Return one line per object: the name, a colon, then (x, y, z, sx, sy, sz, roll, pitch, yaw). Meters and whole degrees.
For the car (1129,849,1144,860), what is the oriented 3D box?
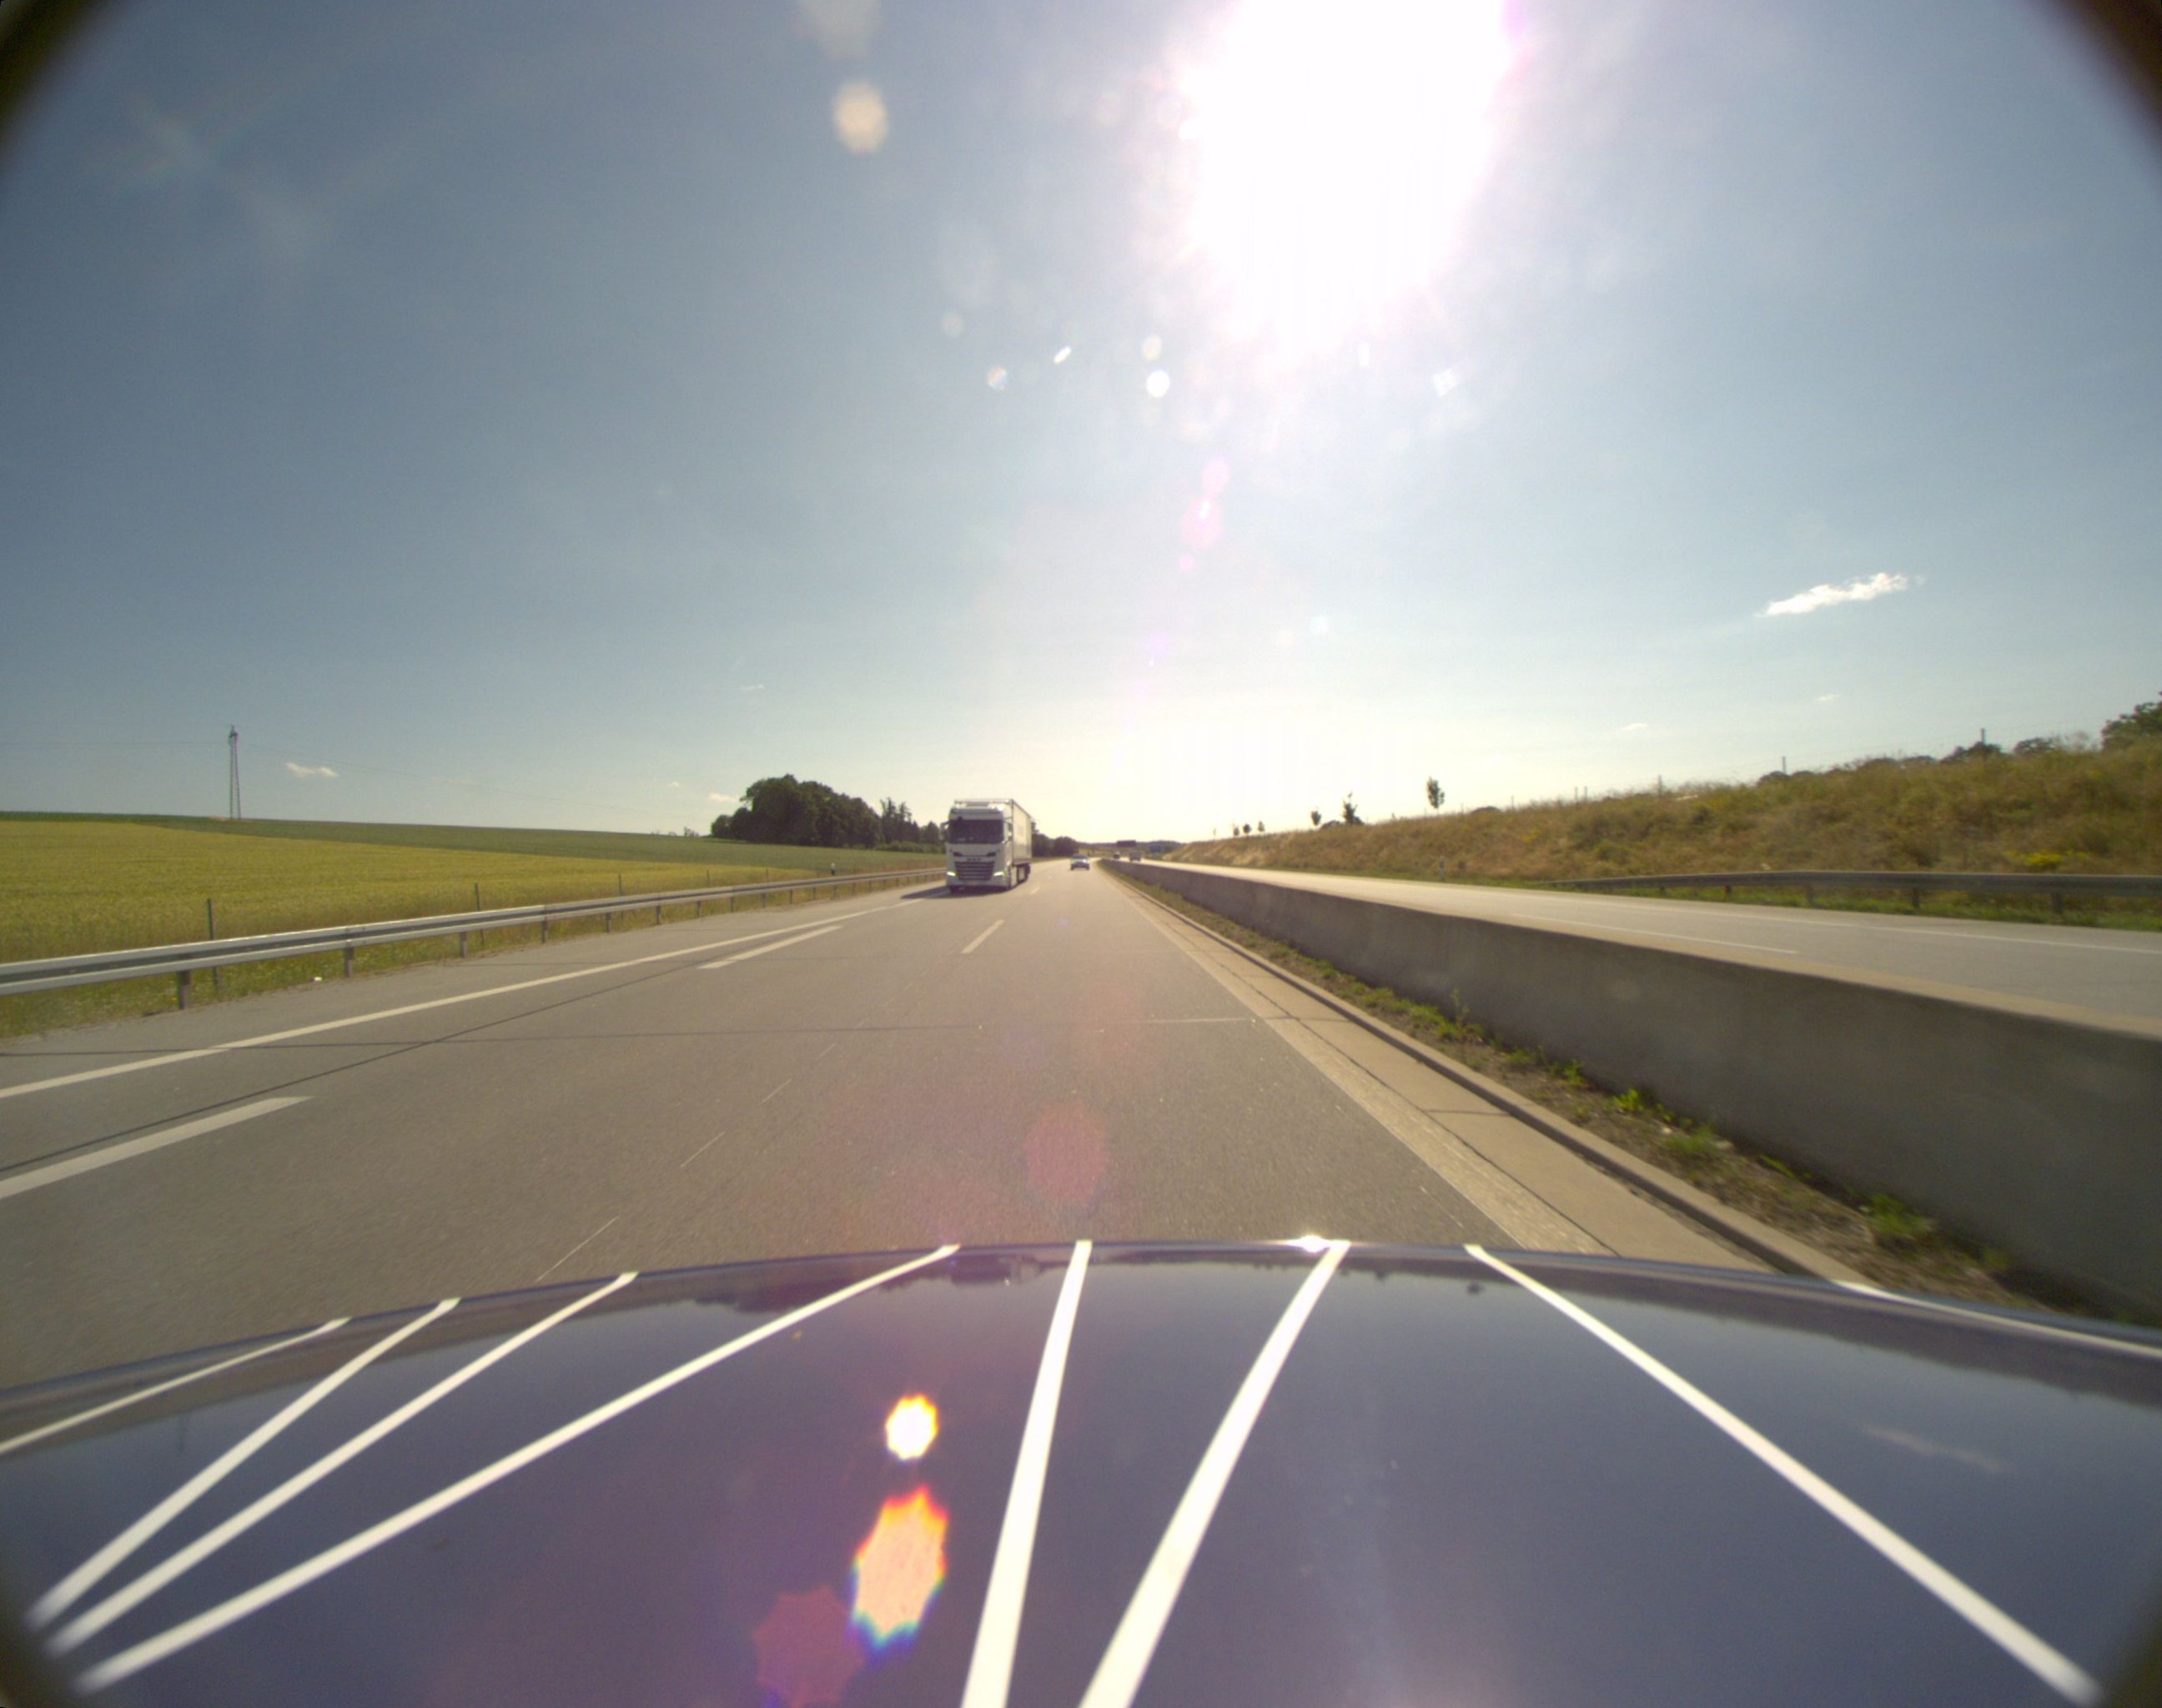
car: (10.470, 0.110, 143.854, 2.239, 1.923, 5.794, -2, 1, 0)

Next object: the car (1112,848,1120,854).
car: (9.189, -0.796, 198.739, 1.884, 1.566, 4.565, 0, 1, 0)

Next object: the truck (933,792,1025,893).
truck: (-4.321, -0.472, 33.502, 3.090, 3.991, 6.188, -1, 1, 1)

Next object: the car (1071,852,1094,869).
car: (0.173, 0.643, 74.931, 1.891, 1.565, 3.793, 0, 1, 5)

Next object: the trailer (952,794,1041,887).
trailer: (-4.327, -0.680, 42.769, 3.184, 4.269, 15.458, 0, 0, 0)

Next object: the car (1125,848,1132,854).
car: (12.722, -0.835, 202.993, 1.883, 1.493, 4.565, 0, 1, 2)
